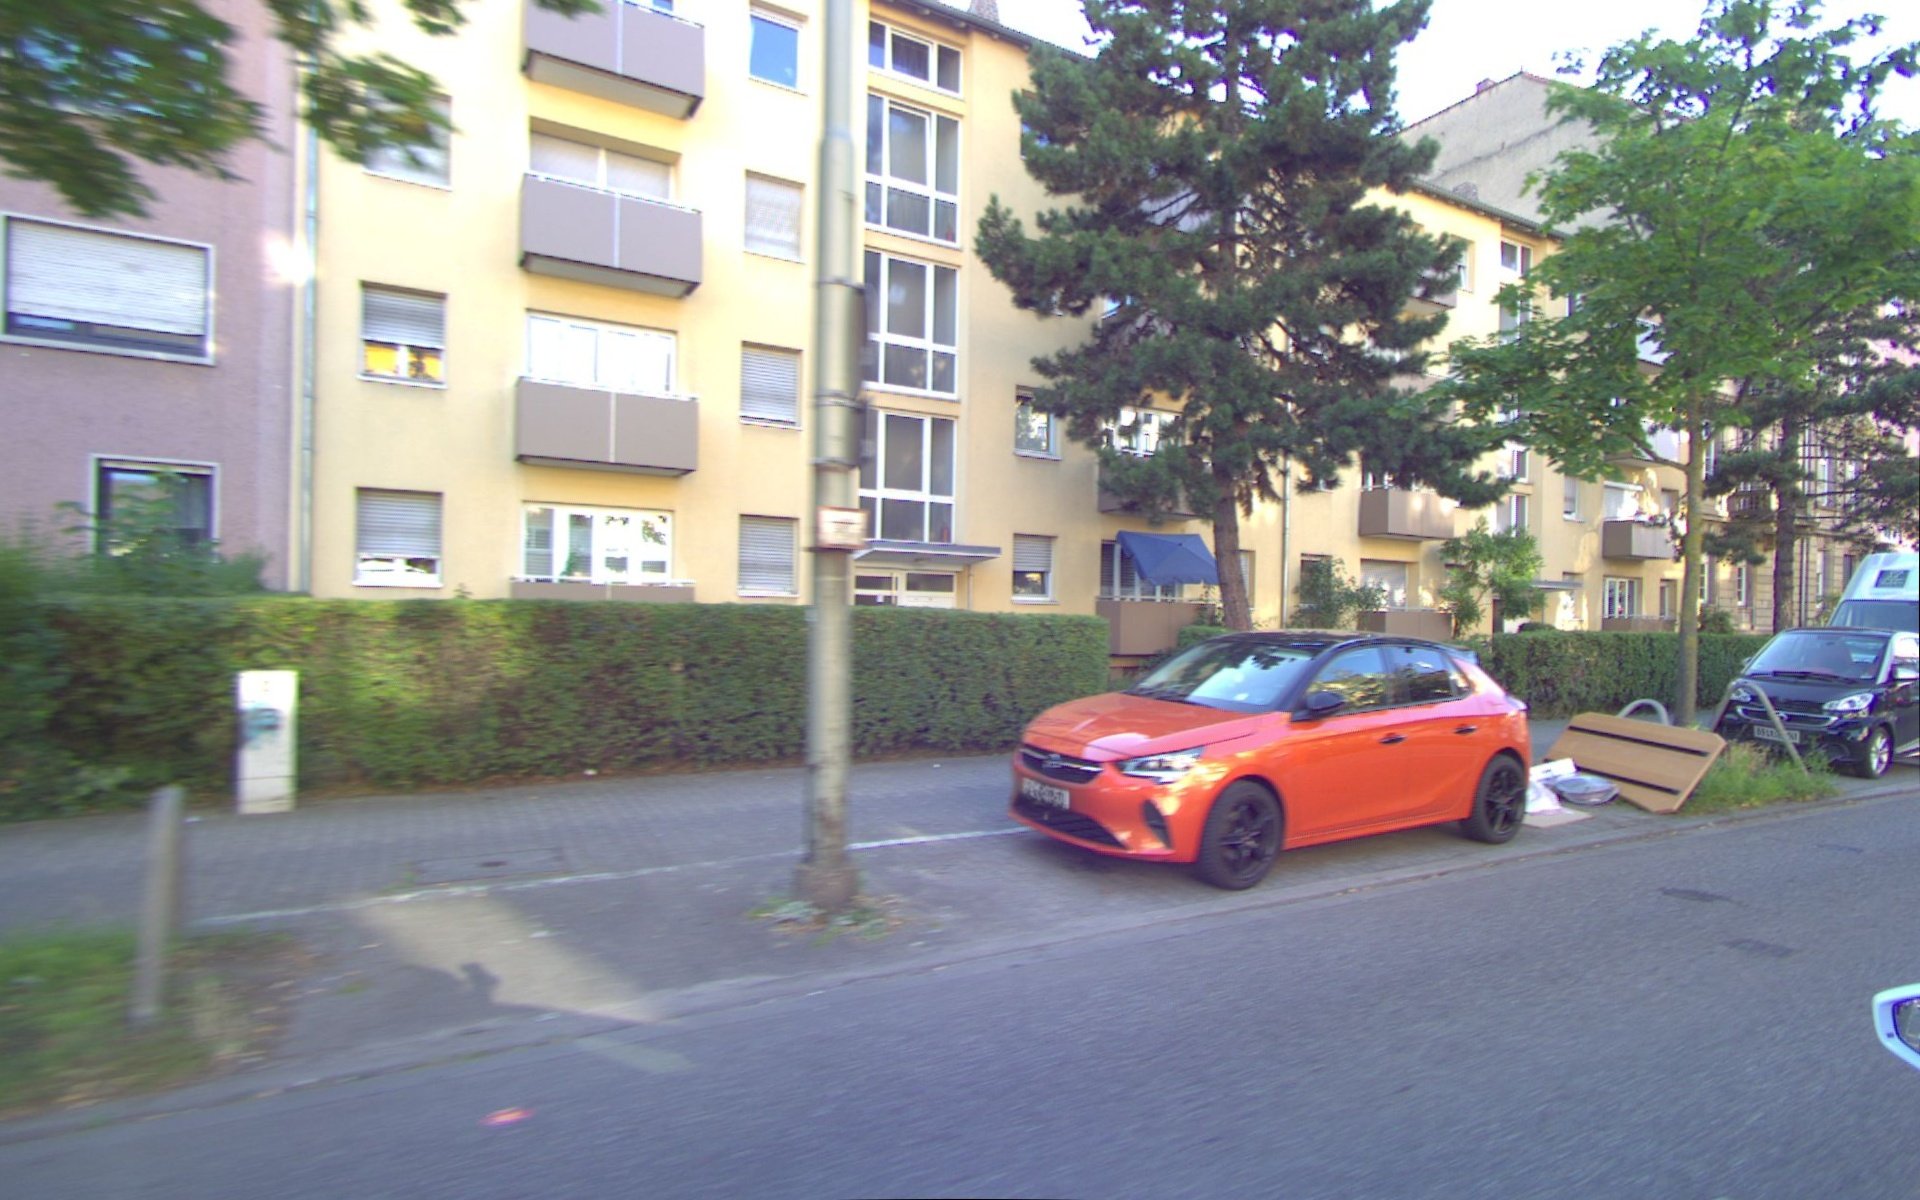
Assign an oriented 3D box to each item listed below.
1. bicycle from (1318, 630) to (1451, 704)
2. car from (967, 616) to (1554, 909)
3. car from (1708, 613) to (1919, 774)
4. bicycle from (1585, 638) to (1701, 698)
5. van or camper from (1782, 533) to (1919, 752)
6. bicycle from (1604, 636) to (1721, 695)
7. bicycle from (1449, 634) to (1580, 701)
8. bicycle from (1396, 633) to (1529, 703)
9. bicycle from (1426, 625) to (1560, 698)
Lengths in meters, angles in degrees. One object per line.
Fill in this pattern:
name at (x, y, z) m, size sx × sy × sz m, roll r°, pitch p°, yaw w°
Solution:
bicycle at (6.495, 0.996, 15.472) m, size 0.575 × 0.938 × 1.927 m, roll 1°, pitch 2°, yaw -28°
car at (2.149, 0.894, 6.963) m, size 3.877 × 1.471 × 1.708 m, roll 1°, pitch 1°, yaw -30°
car at (10.072, 0.991, 11.465) m, size 2.727 × 1.569 × 1.397 m, roll 1°, pitch 2°, yaw -29°
bicycle at (13.053, 1.273, 19.249) m, size 0.582 × 0.994 × 1.751 m, roll 1°, pitch 1°, yaw -28°
van or camper at (14.178, 0.573, 14.283) m, size 5.950 × 2.699 × 2.024 m, roll 2°, pitch 2°, yaw -33°
bicycle at (13.694, 1.259, 19.626) m, size 0.582 × 0.994 × 1.777 m, roll 1°, pitch 1°, yaw -28°
bicycle at (9.463, 1.129, 17.226) m, size 0.575 × 0.938 × 1.927 m, roll 1°, pitch 2°, yaw -28°
bicycle at (8.125, 1.072, 16.336) m, size 0.575 × 0.938 × 1.927 m, roll 1°, pitch 2°, yaw -28°
bicycle at (8.876, 1.000, 16.804) m, size 0.603 × 1.108 × 1.926 m, roll 1°, pitch -1°, yaw -35°
